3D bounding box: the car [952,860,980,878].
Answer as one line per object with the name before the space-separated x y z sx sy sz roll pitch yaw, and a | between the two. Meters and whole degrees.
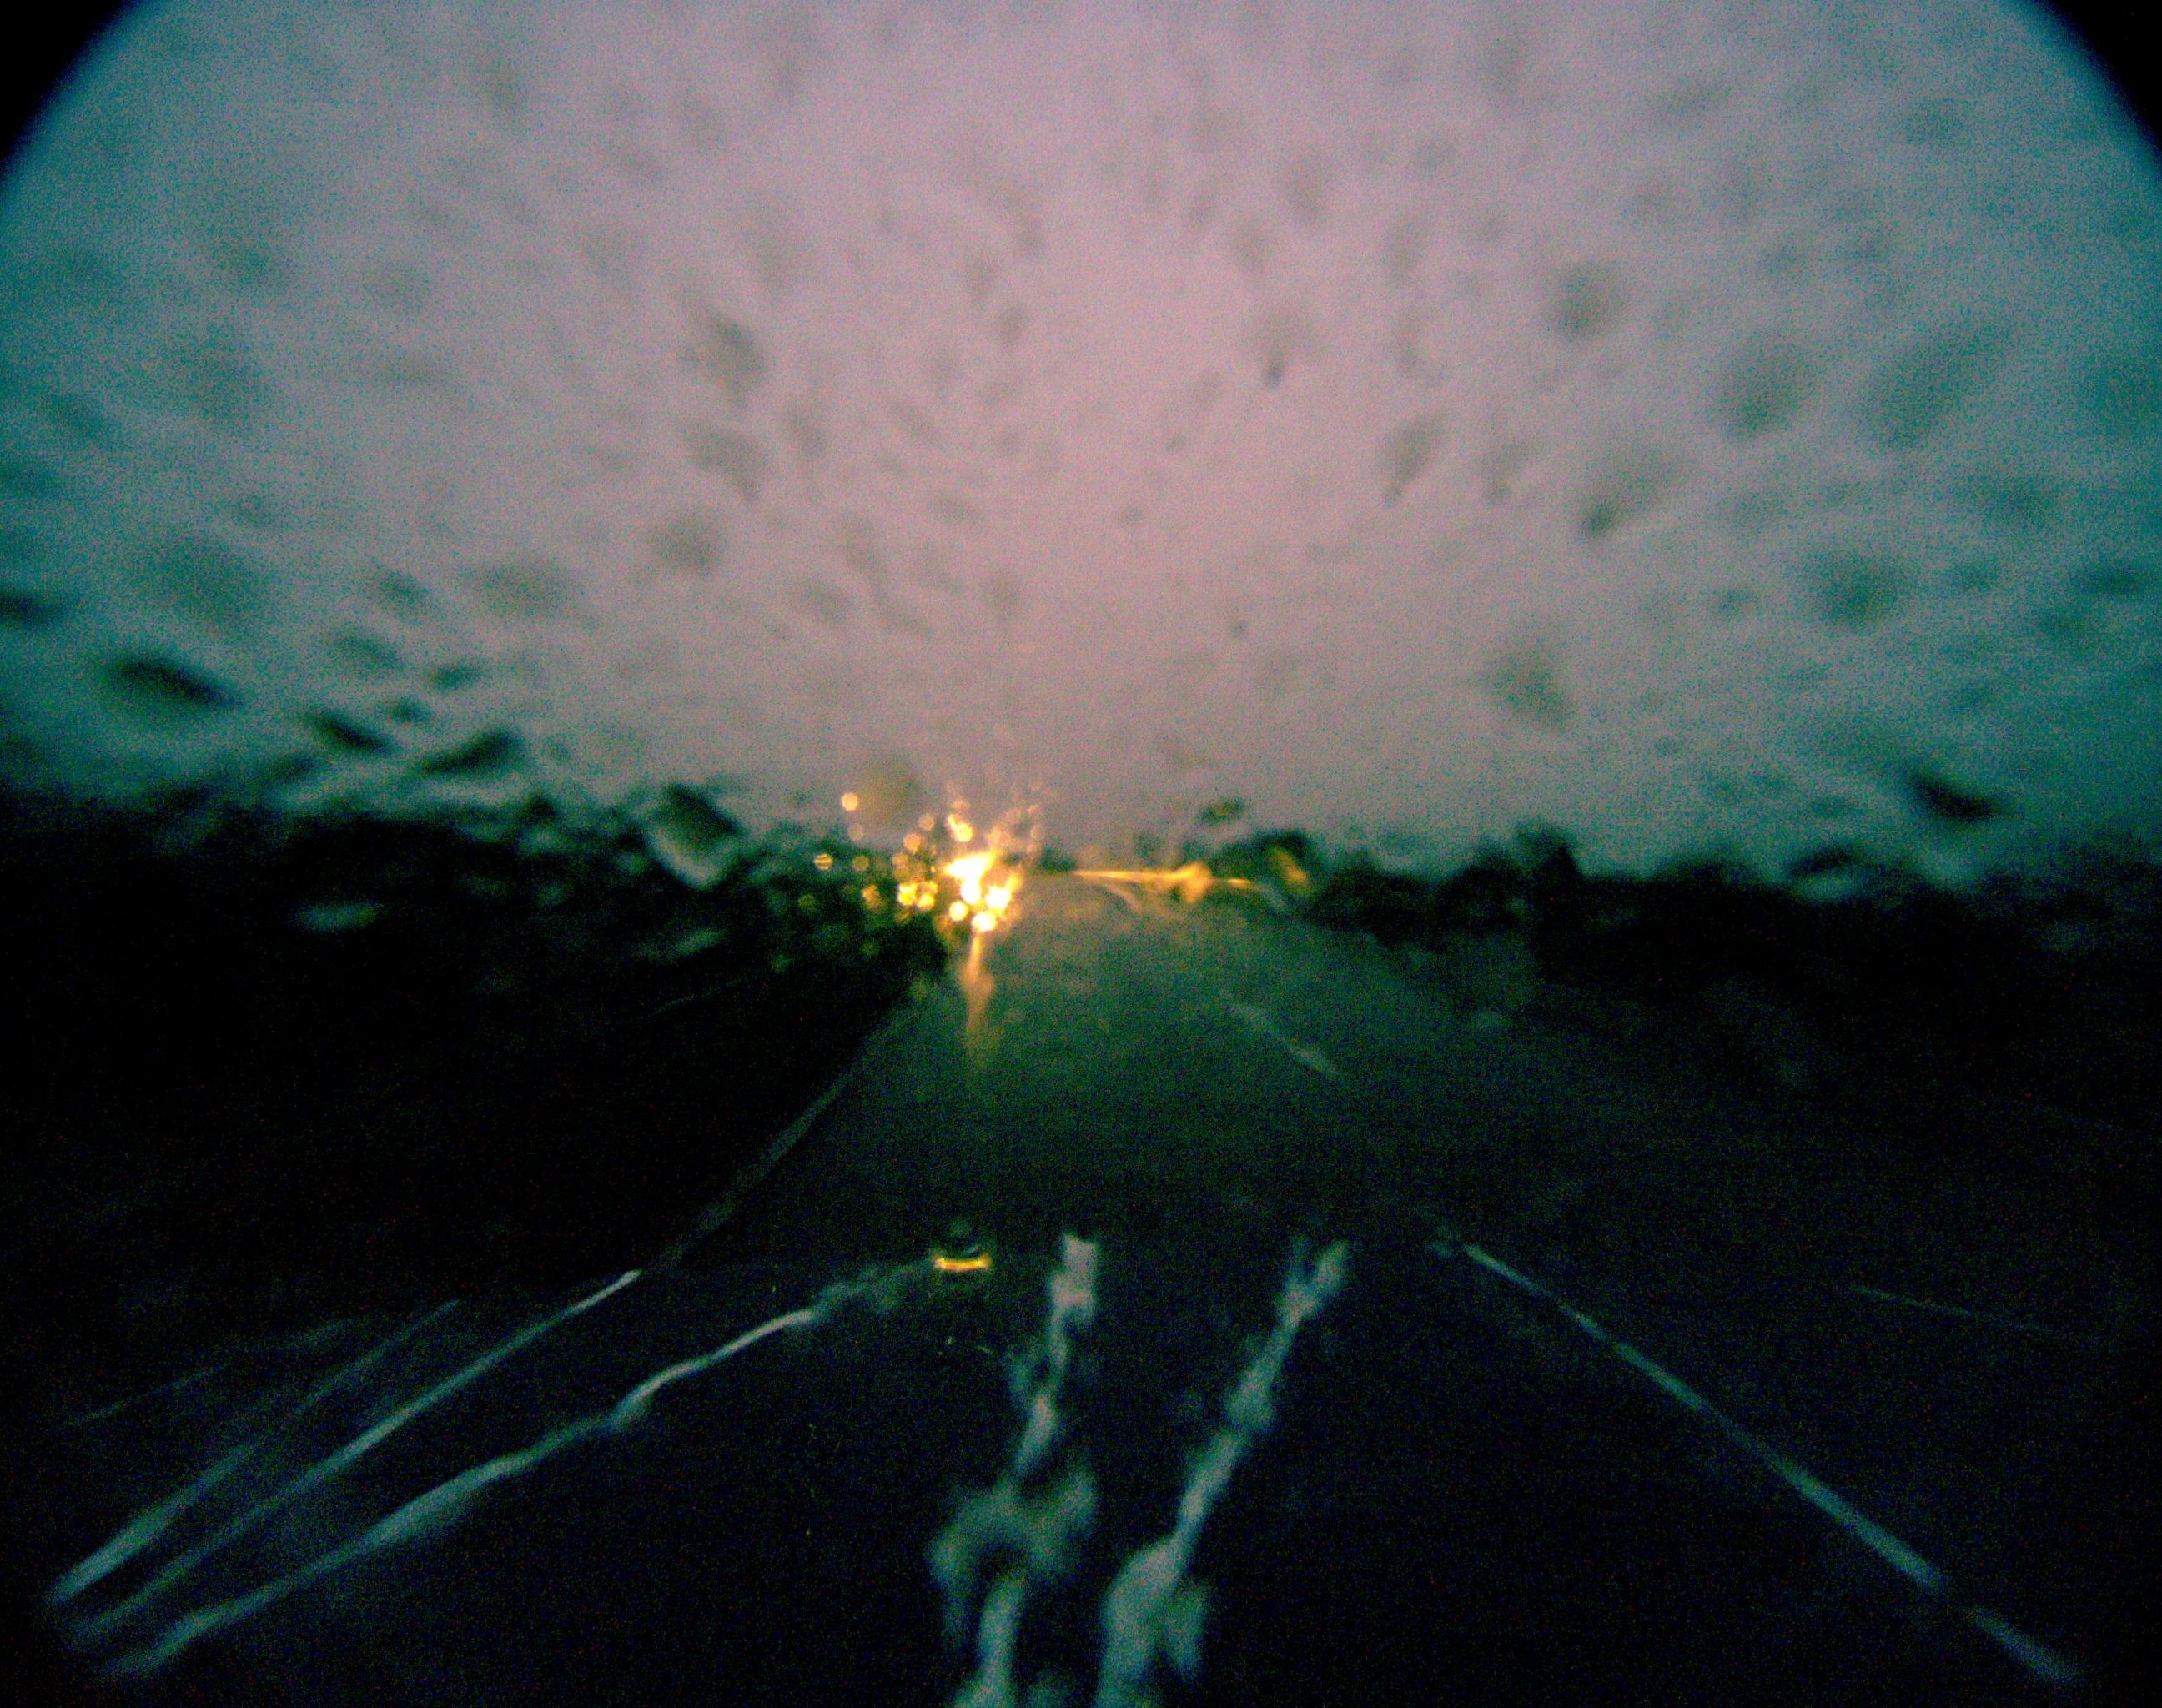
car | -10.890 1.420 71.701 2.105 1.565 4.794 1 -1 -15
